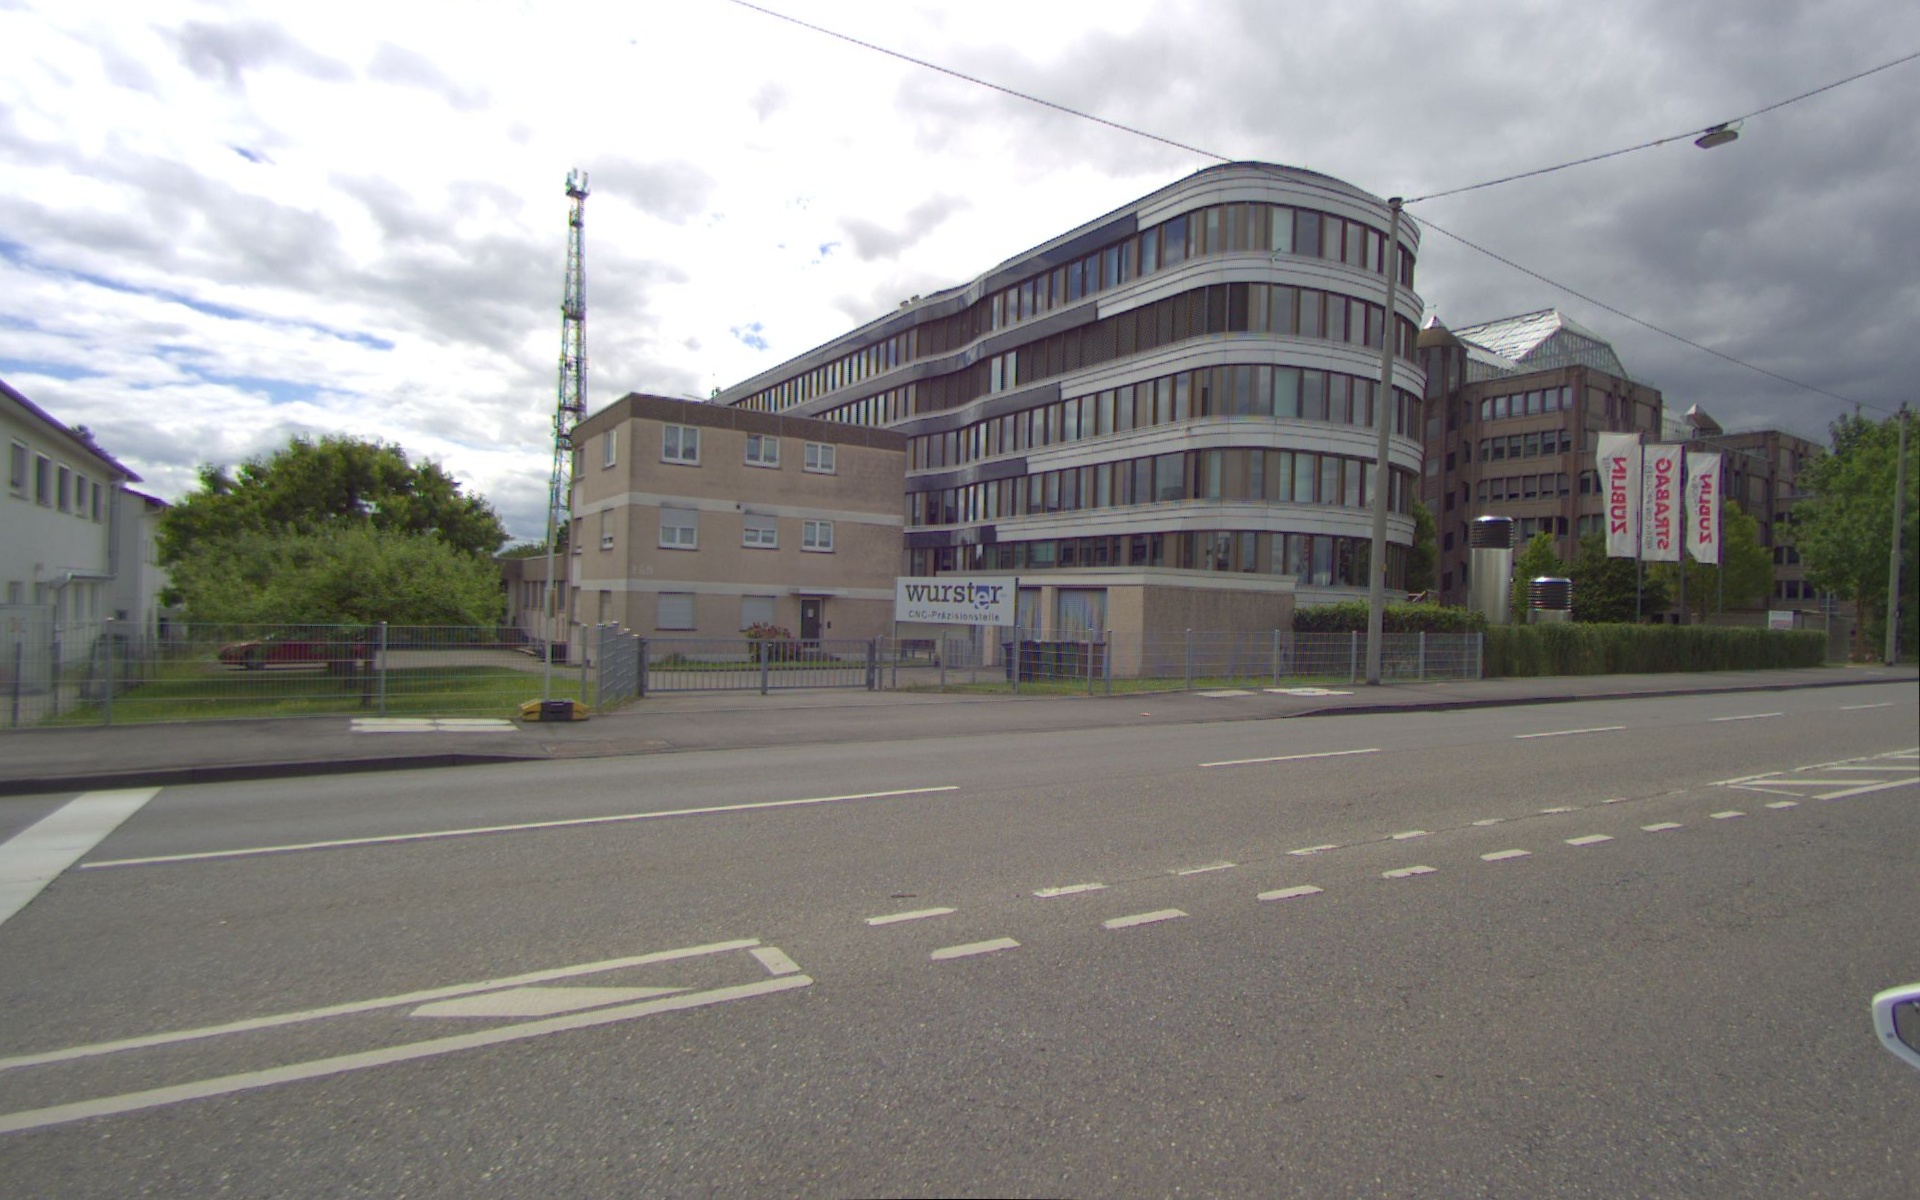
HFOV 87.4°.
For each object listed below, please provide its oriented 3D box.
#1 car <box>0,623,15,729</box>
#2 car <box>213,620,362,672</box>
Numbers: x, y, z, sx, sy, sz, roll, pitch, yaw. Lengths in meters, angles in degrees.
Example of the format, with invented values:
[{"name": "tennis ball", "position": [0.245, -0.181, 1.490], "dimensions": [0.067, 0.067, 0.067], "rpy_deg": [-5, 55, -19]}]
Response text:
[{"name": "car", "position": [-12.583, 0.837, 11.444], "dimensions": [1.828, 1.387, 3.968], "rpy_deg": [2, -6, -32]}, {"name": "car", "position": [-23.059, 1.565, 34.504], "dimensions": [4.137, 1.564, 1.830], "rpy_deg": [2, 2, -37]}]
